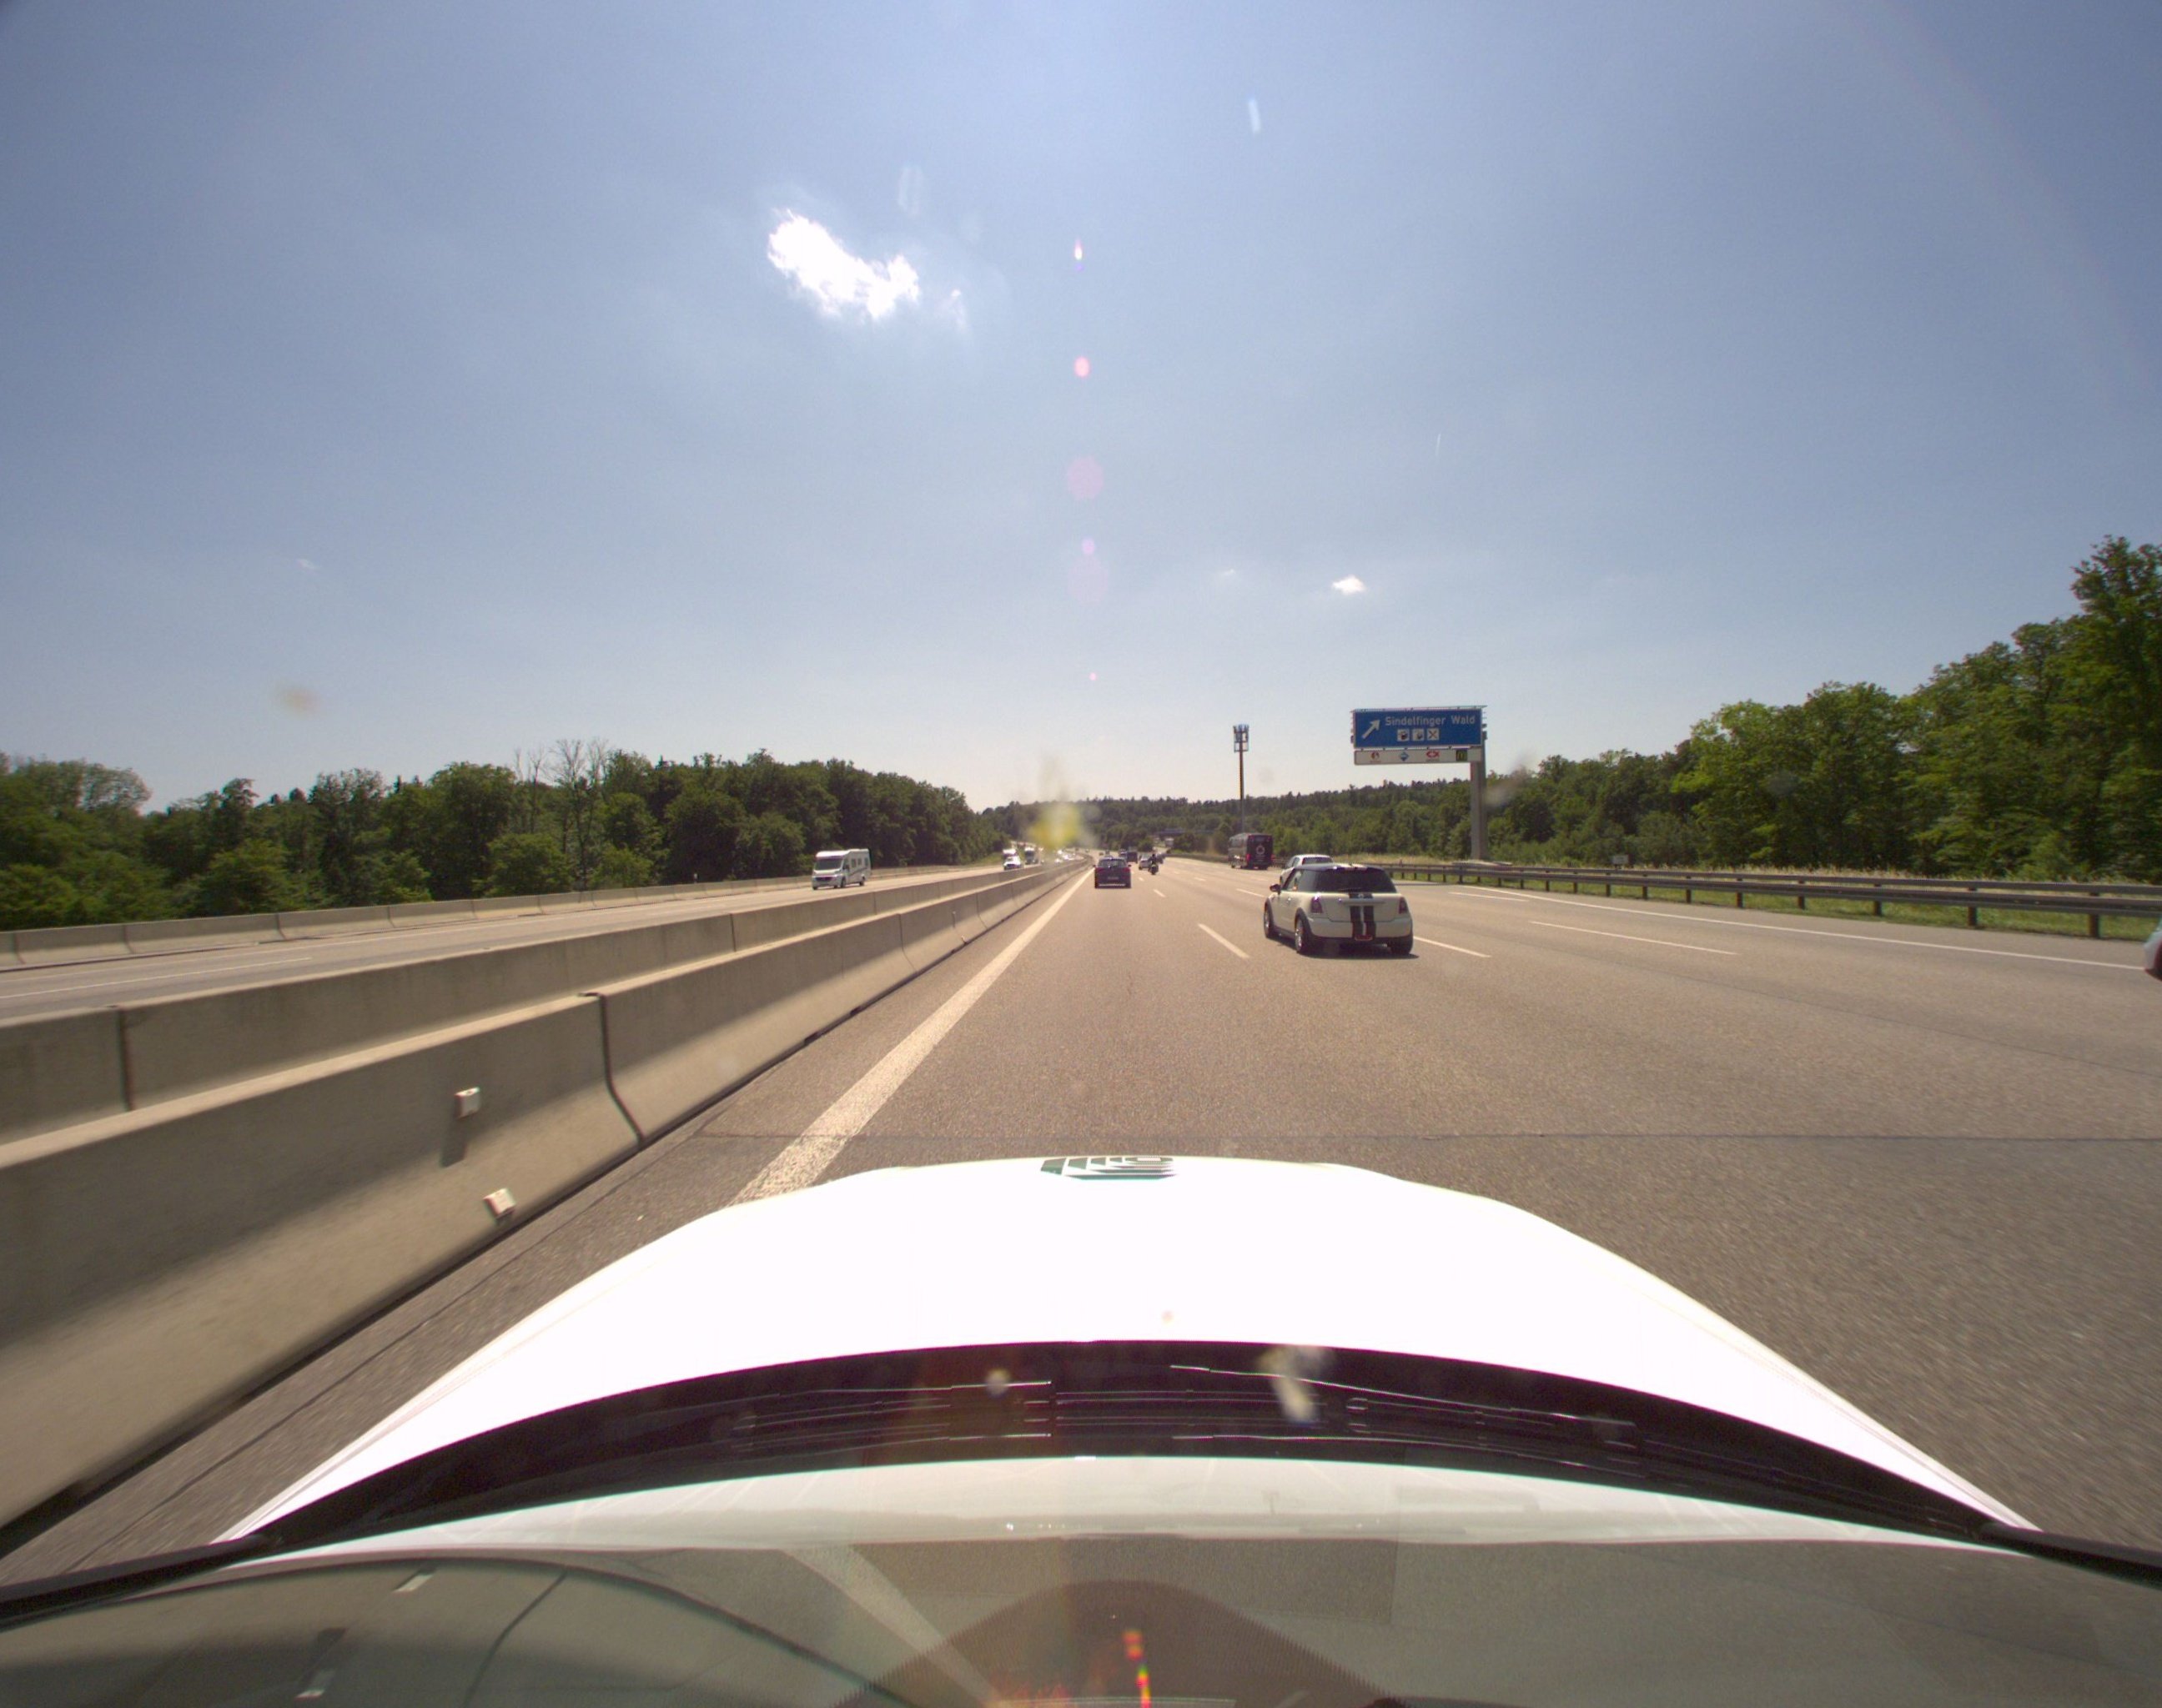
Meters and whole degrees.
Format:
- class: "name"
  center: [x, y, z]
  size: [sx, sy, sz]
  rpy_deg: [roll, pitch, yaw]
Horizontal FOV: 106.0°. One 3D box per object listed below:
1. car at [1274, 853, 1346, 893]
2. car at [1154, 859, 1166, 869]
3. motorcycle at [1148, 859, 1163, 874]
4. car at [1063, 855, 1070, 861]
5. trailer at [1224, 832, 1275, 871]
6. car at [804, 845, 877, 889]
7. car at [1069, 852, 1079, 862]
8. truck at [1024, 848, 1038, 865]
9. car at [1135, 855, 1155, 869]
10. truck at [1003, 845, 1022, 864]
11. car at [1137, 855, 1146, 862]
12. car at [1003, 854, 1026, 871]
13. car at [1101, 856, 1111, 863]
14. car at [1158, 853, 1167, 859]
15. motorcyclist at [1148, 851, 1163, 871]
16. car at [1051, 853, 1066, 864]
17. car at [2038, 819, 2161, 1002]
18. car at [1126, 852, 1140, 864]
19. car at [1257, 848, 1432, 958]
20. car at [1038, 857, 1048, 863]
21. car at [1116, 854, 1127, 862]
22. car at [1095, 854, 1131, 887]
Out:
- class: "car"
  center: [8.933, 0.690, 32.155]
  size: [1.660, 1.433, 4.376]
  rpy_deg: [-2, 0, 1]
- class: "car"
  center: [12.296, 1.504, 127.157]
  size: [1.669, 1.431, 3.687]
  rpy_deg: [-2, 0, 2]
- class: "motorcycle"
  center: [5.528, 0.911, 60.819]
  size: [0.974, 1.129, 2.272]
  rpy_deg: [0, -1, 1]
- class: "car"
  center: [-4.395, 1.233, 246.655]
  size: [1.791, 1.643, 5.081]
  rpy_deg: [-2, 0, 2]
- class: "trailer"
  center: [17.259, -0.197, 84.411]
  size: [2.847, 3.688, 13.547]
  rpy_deg: [-2, 0, 2]
- class: "car"
  center: [-16.470, 0.830, 56.291]
  size: [2.213, 2.659, 8.179]
  rpy_deg: [-3, 0, 2]
- class: "car"
  center: [-1.443, 0.636, 177.612]
  size: [1.766, 1.879, 5.215]
  rpy_deg: [0, 1, 3]
- class: "truck"
  center: [-12.211, 0.621, 199.327]
  size: [2.705, 4.099, 7.879]
  rpy_deg: [-3, 0, 1]
- class: "car"
  center: [6.292, 0.754, 80.471]
  size: [1.776, 1.265, 3.461]
  rpy_deg: [-1, 0, 2]
- class: "truck"
  center: [-13.287, 0.082, 158.172]
  size: [2.530, 3.571, 8.579]
  rpy_deg: [-3, 0, 1]
- class: "car"
  center: [12.090, 0.929, 163.421]
  size: [1.603, 1.212, 3.460]
  rpy_deg: [-2, 0, 0]
- class: "car"
  center: [-7.635, 0.995, 94.010]
  size: [1.986, 1.787, 5.320]
  rpy_deg: [-3, 0, 2]
- class: "car"
  center: [4.386, 0.927, 142.964]
  size: [1.532, 1.212, 3.456]
  rpy_deg: [-2, 0, -3]
- class: "car"
  center: [17.491, 0.361, 174.566]
  size: [1.603, 1.212, 3.460]
  rpy_deg: [-2, 0, 0]
- class: "motorcyclist"
  center: [5.513, 0.509, 60.668]
  size: [0.958, 1.437, 1.235]
  rpy_deg: [-3, 0, 1]
- class: "car"
  center: [-3.257, 0.638, 117.543]
  size: [1.842, 1.523, 5.320]
  rpy_deg: [-3, 0, 2]
- class: "car"
  center: [11.057, 0.557, 6.078]
  size: [1.794, 1.731, 5.242]
  rpy_deg: [0, 1, 2]
- class: "car"
  center: [8.357, 0.639, 131.648]
  size: [2.090, 1.851, 4.081]
  rpy_deg: [-2, 0, 1]
- class: "car"
  center: [4.232, 0.698, 13.770]
  size: [1.834, 1.552, 4.003]
  rpy_deg: [0, 1, 2]
- class: "car"
  center: [-8.789, 1.393, 188.084]
  size: [1.791, 1.376, 4.533]
  rpy_deg: [-2, 0, 2]
- class: "car"
  center: [8.955, 0.911, 179.904]
  size: [1.989, 1.684, 4.420]
  rpy_deg: [0, 1, -2]
- class: "car"
  center: [1.511, 0.783, 38.782]
  size: [1.618, 1.487, 3.686]
  rpy_deg: [-1, -1, 2]
